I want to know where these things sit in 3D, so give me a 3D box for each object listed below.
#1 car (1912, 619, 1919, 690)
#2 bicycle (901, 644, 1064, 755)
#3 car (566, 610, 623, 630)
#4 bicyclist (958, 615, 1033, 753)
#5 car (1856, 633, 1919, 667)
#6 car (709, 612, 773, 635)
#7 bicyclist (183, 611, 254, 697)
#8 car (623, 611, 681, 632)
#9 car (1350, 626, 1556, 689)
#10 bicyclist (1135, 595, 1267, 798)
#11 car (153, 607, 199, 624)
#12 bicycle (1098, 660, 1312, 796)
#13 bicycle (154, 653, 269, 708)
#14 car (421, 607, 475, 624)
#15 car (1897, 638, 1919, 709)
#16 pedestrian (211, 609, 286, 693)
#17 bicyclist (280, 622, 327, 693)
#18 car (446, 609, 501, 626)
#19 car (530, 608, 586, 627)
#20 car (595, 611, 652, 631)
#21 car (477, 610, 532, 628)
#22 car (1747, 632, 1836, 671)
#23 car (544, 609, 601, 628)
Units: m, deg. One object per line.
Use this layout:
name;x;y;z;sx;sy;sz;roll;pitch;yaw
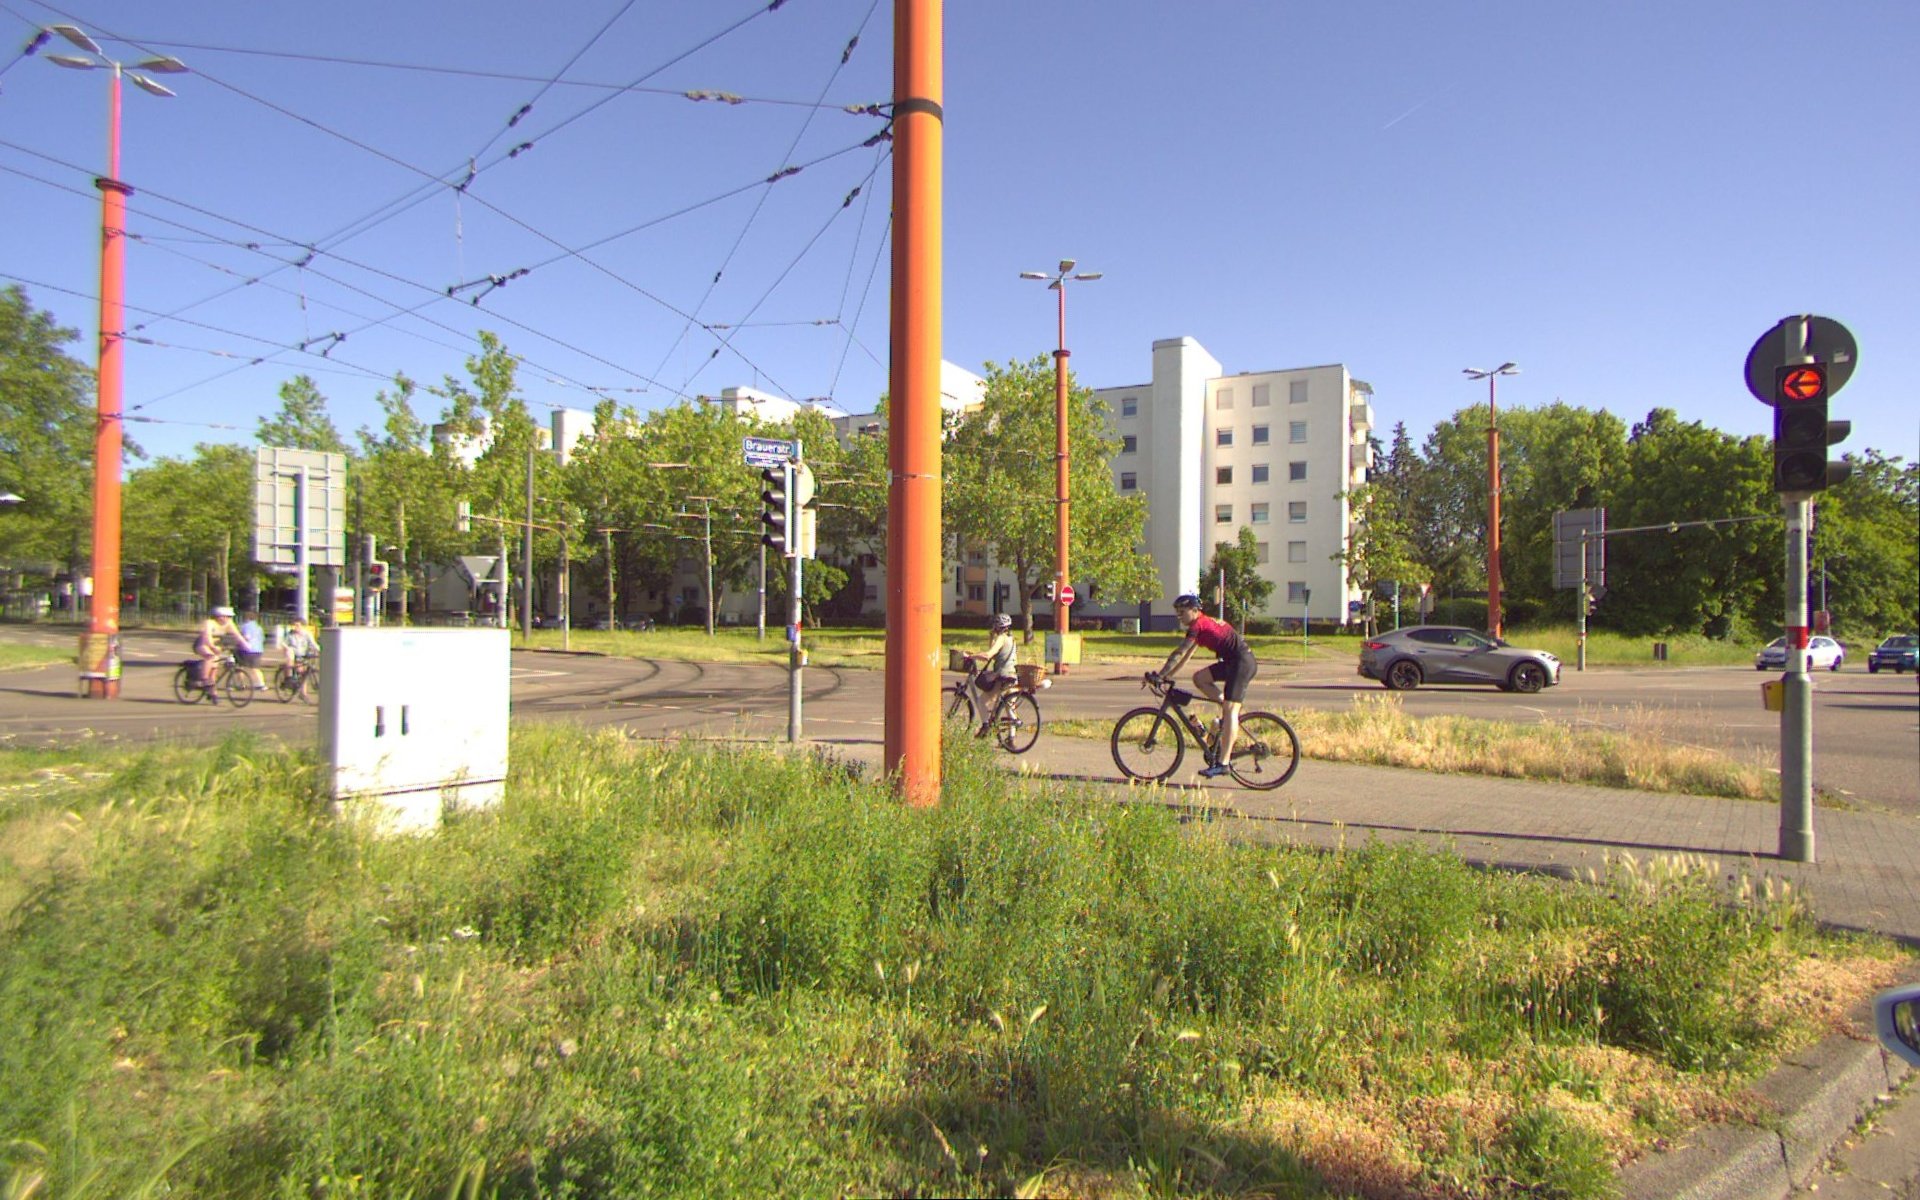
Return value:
car;25.543;1.329;23.828;4.222;1.730;1.852;1;-1;-1
bicycle;0.258;1.168;12.274;1.915;1.210;0.690;0;-1;33
car;-27.578;1.494;75.920;3.934;1.428;1.794;1;-1;-16
bicyclist;0.436;0.990;12.167;0.651;1.605;0.671;0;-1;33
car;37.156;1.963;39.622;3.571;1.260;1.730;1;-1;-31
car;-14.543;1.558;66.842;1.770;1.428;3.987;0;-1;35
bicyclist;-13.954;1.003;18.920;0.752;1.565;0.732;1;-1;-1
car;-22.256;1.555;72.645;3.934;1.428;1.794;1;-1;-16
car;12.157;1.390;25.096;4.347;1.441;1.837;0;-1;15
bicyclist;2.239;0.848;9.337;0.981;1.764;0.734;0;-1;37
car;-93.990;1.896;120.454;1.969;2.040;3.984;0;-1;38
bicycle;2.240;1.127;9.311;1.804;1.071;0.719;0;-1;40
bicycle;-14.065;1.503;18.907;1.612;0.974;0.685;1;-1;-1
car;-44.790;1.397;87.895;3.935;1.428;1.794;1;-1;-17
car;20.812;1.449;19.072;4.275;1.368;1.766;1;-1;4
pedestrian;-15.860;1.115;22.393;0.968;1.817;0.955;0;-1;19
bicyclist;-13.061;1.140;20.005;0.616;1.399;0.443;1;-1;-1
car;-41.436;1.495;85.625;3.935;1.428;1.794;1;-1;-17
car;-31.939;1.377;79.971;3.935;1.428;1.794;1;-1;-17
car;-24.997;1.564;74.696;3.934;1.428;1.794;1;-1;-16
car;-38.032;1.576;83.884;3.935;1.428;1.794;1;-1;-17
car;35.209;2.142;42.516;3.891;1.552;1.752;1;-1;-31
car;-30.077;1.426;78.074;3.934;1.428;1.794;1;-1;-16
